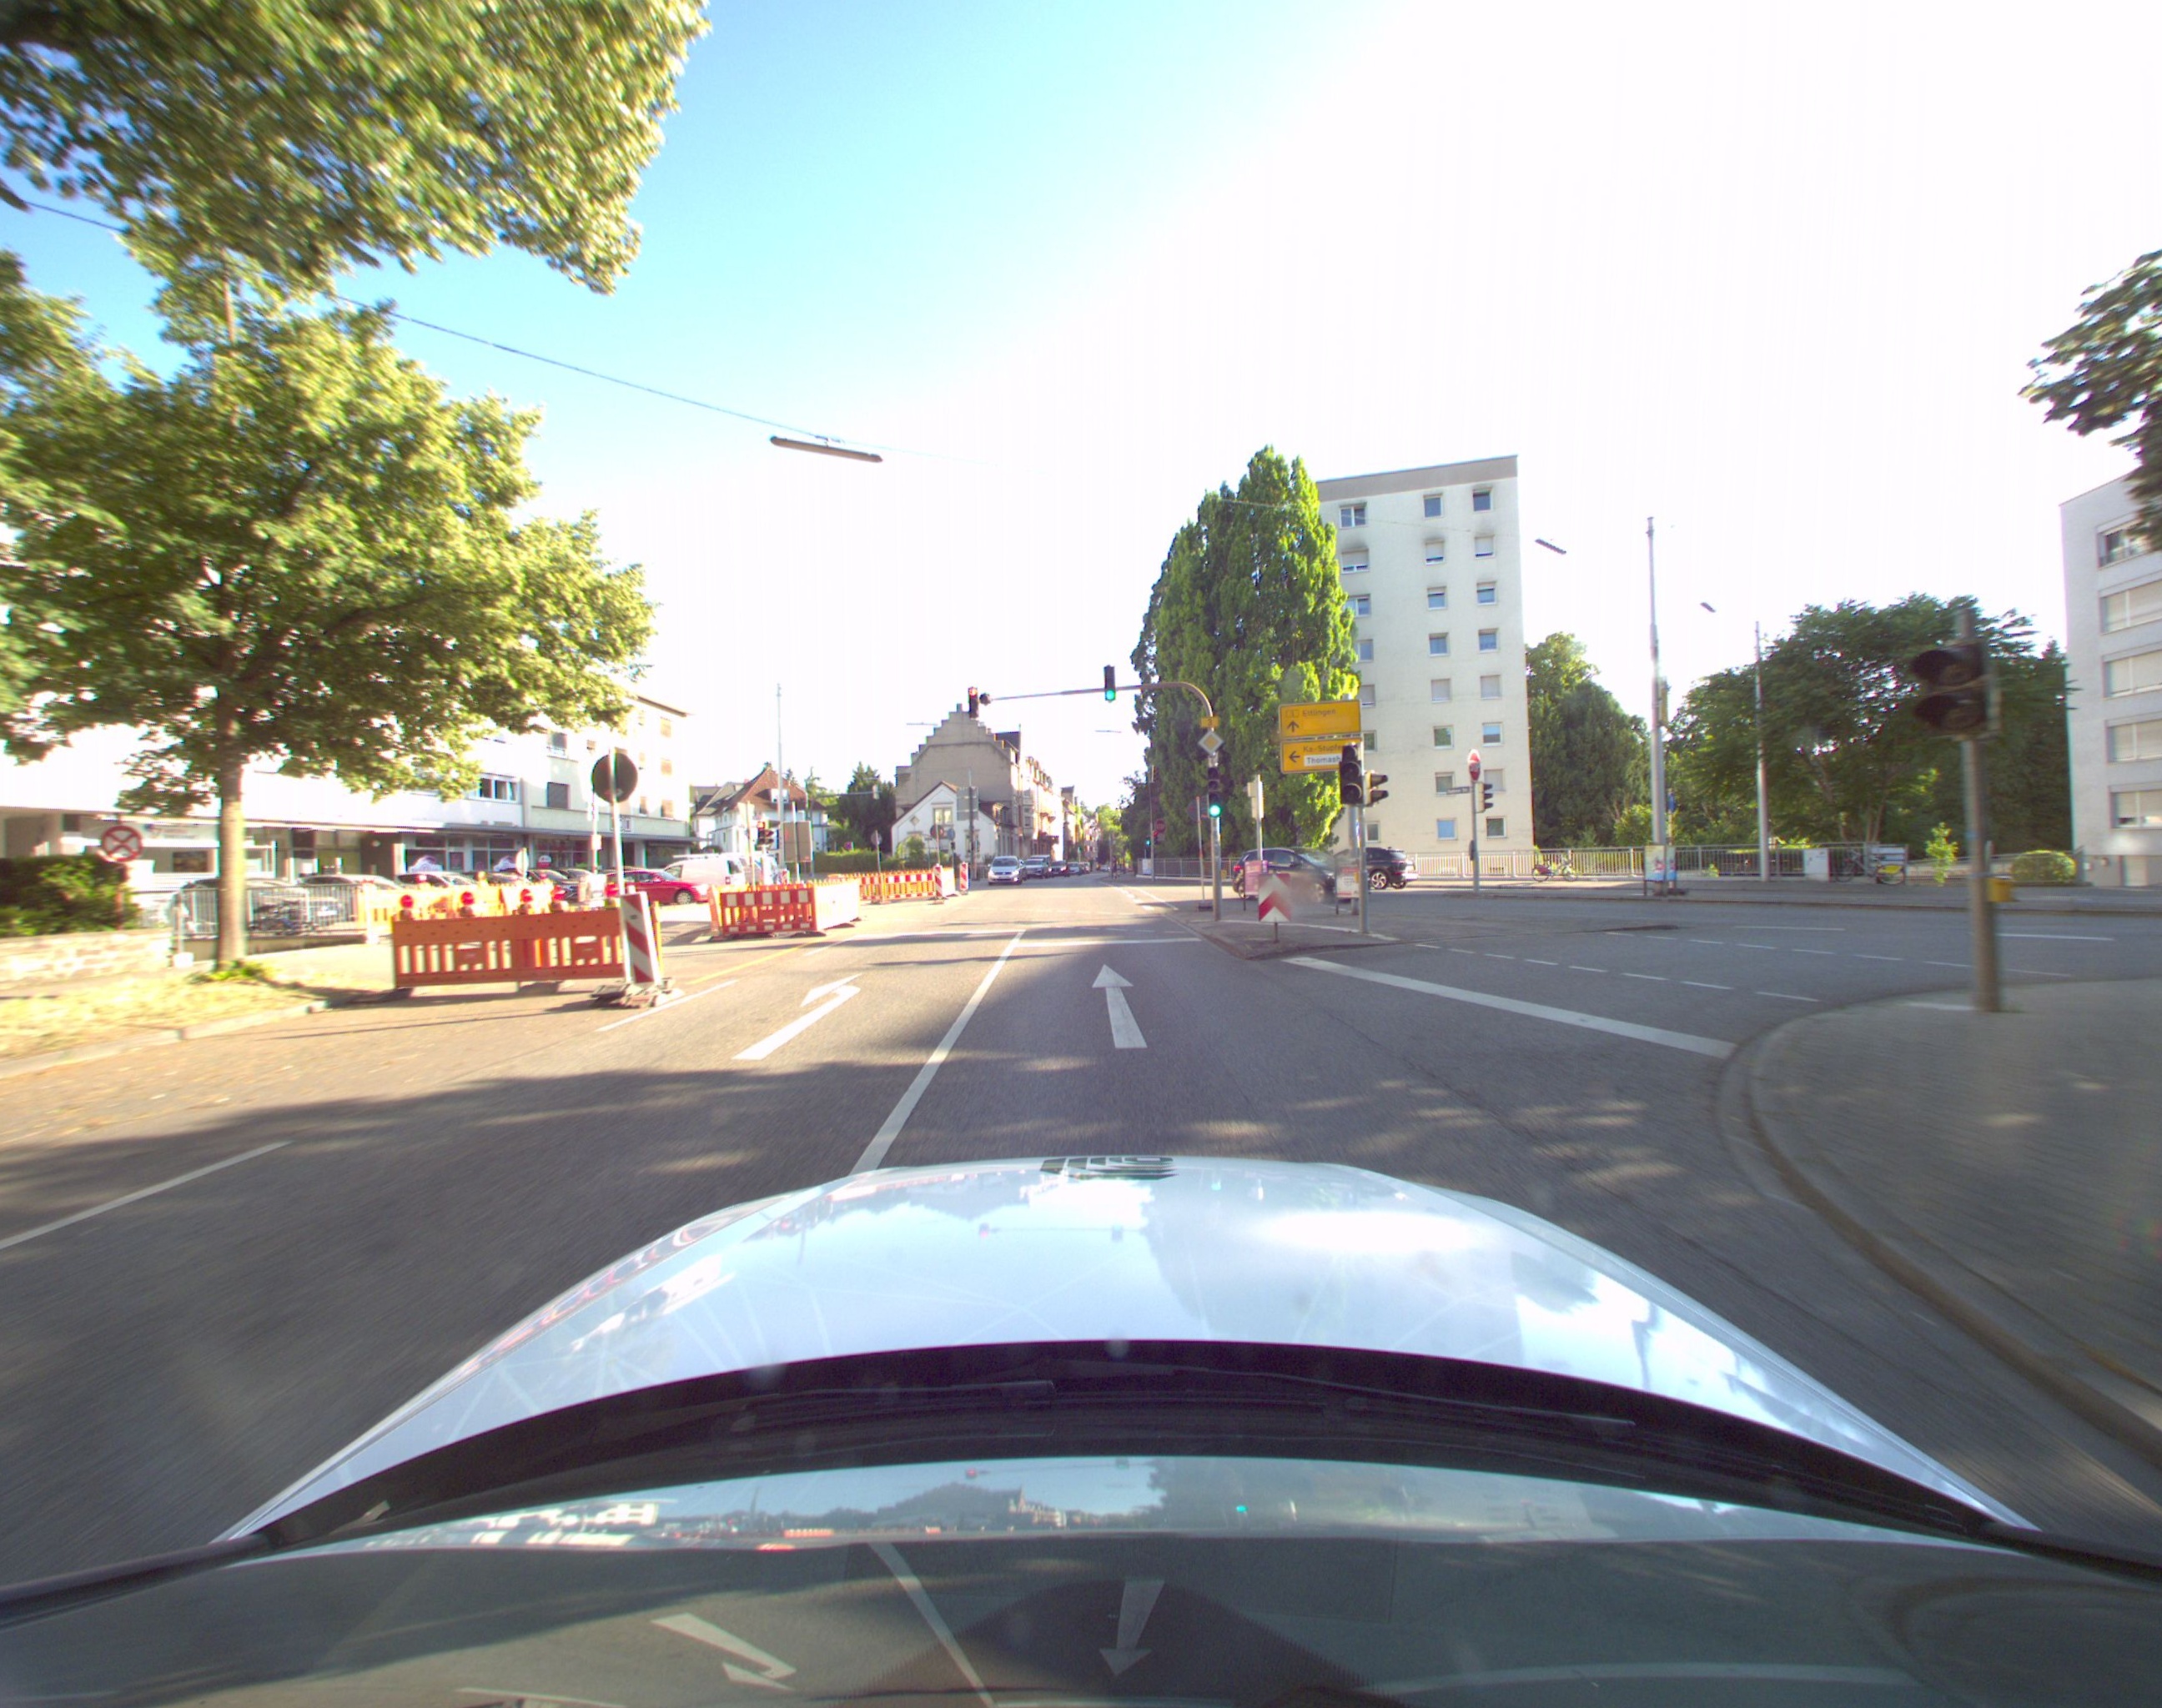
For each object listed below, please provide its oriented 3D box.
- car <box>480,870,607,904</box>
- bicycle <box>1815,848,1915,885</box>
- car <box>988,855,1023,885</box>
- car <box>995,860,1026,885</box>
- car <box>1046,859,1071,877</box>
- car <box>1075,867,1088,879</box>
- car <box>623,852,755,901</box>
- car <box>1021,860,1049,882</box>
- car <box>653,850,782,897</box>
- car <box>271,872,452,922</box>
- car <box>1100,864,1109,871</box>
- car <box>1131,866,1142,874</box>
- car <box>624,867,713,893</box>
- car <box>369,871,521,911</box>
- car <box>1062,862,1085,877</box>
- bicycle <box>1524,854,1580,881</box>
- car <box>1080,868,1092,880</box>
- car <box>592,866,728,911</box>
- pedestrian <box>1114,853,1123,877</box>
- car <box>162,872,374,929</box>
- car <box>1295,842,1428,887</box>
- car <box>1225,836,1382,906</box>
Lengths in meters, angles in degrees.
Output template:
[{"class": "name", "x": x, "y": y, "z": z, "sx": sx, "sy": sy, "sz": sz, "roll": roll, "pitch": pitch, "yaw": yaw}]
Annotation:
[{"class": "car", "x": -23.789, "y": 1.439, "z": 36.154, "sx": 4.295, "sy": 1.398, "sz": 2.002, "roll": -1, "pitch": 0, "yaw": 3}, {"class": "bicycle", "x": 25.648, "y": 0.400, "z": 26.696, "sx": 2.304, "sy": 1.178, "sz": 0.716, "roll": 0, "pitch": 0, "yaw": 39}, {"class": "car", "x": -4.218, "y": 0.860, "z": 44.983, "sx": 1.774, "sy": 1.543, "sz": 3.990, "roll": -1, "pitch": 0, "yaw": -7}, {"class": "car", "x": -4.593, "y": 1.165, "z": 53.510, "sx": 1.771, "sy": 1.480, "sz": 4.093, "roll": -1, "pitch": 0, "yaw": -2}, {"class": "car", "x": -2.132, "y": 1.323, "z": 78.448, "sx": 1.944, "sy": 1.648, "sz": 4.289, "roll": -1, "pitch": 0, "yaw": 5}, {"class": "car", "x": 0.109, "y": 2.982, "z": 126.867, "sx": 1.695, "sy": 1.738, "sz": 3.860, "roll": -1, "pitch": 0, "yaw": 4}, {"class": "car", "x": -15.765, "y": 0.892, "z": 32.891, "sx": 4.295, "sy": 1.852, "sz": 2.002, "roll": -1, "pitch": 0, "yaw": 3}, {"class": "car", "x": -3.662, "y": 1.331, "z": 65.394, "sx": 1.768, "sy": 1.648, "sz": 4.538, "roll": -1, "pitch": 0, "yaw": 3}, {"class": "car", "x": -15.779, "y": 0.817, "z": 35.557, "sx": 4.653, "sy": 1.964, "sz": 2.116, "roll": -1, "pitch": 0, "yaw": -1}, {"class": "car", "x": -23.869, "y": 1.412, "z": 27.113, "sx": 4.295, "sy": 1.510, "sz": 2.002, "roll": -1, "pitch": 0, "yaw": 3}, {"class": "car", "x": 5.791, "y": 3.351, "z": 199.154, "sx": 1.984, "sy": 1.491, "sz": 4.476, "roll": -2, "pitch": 0, "yaw": 5}, {"class": "car", "x": 11.322, "y": 3.201, "z": 166.195, "sx": 1.983, "sy": 1.517, "sz": 4.007, "roll": -2, "pitch": 0, "yaw": 6}, {"class": "car", "x": -23.713, "y": 1.457, "z": 46.894, "sx": 4.282, "sy": 1.398, "sz": 2.008, "roll": 0, "pitch": 0, "yaw": 14}, {"class": "car", "x": -24.240, "y": 1.388, "z": 31.153, "sx": 4.295, "sy": 1.398, "sz": 2.002, "roll": -1, "pitch": 0, "yaw": 3}, {"class": "car", "x": -0.785, "y": 1.747, "z": 92.570, "sx": 1.942, "sy": 1.648, "sz": 4.293, "roll": -1, "pitch": 0, "yaw": 8}, {"class": "bicycle", "x": 19.481, "y": 0.535, "z": 33.691, "sx": 1.899, "sy": 1.068, "sz": 0.619, "roll": 0, "pitch": 0, "yaw": 41}, {"class": "car", "x": 0.824, "y": 3.351, "z": 138.391, "sx": 1.785, "sy": 2.010, "sz": 4.702, "roll": -1, "pitch": 0, "yaw": 4}, {"class": "car", "x": -15.624, "y": 1.252, "z": 30.394, "sx": 3.982, "sy": 1.479, "sz": 1.998, "roll": -1, "pitch": 0, "yaw": -3}, {"class": "pedestrian", "x": 2.780, "y": 0.812, "z": 60.312, "sx": 0.599, "sy": 1.693, "sz": 0.612, "roll": -3, "pitch": 0, "yaw": 3}, {"class": "car", "x": -23.719, "y": 1.319, "z": 23.884, "sx": 4.295, "sy": 1.511, "sz": 2.002, "roll": -1, "pitch": 0, "yaw": 3}, {"class": "car", "x": 11.120, "y": 0.459, "z": 32.505, "sx": 2.011, "sy": 1.670, "sz": 4.606, "roll": 3, "pitch": -3, "yaw": -44}, {"class": "car", "x": 6.583, "y": 0.448, "z": 24.525, "sx": 2.009, "sy": 1.815, "sz": 4.206, "roll": -5, "pitch": 3, "yaw": -34}]
